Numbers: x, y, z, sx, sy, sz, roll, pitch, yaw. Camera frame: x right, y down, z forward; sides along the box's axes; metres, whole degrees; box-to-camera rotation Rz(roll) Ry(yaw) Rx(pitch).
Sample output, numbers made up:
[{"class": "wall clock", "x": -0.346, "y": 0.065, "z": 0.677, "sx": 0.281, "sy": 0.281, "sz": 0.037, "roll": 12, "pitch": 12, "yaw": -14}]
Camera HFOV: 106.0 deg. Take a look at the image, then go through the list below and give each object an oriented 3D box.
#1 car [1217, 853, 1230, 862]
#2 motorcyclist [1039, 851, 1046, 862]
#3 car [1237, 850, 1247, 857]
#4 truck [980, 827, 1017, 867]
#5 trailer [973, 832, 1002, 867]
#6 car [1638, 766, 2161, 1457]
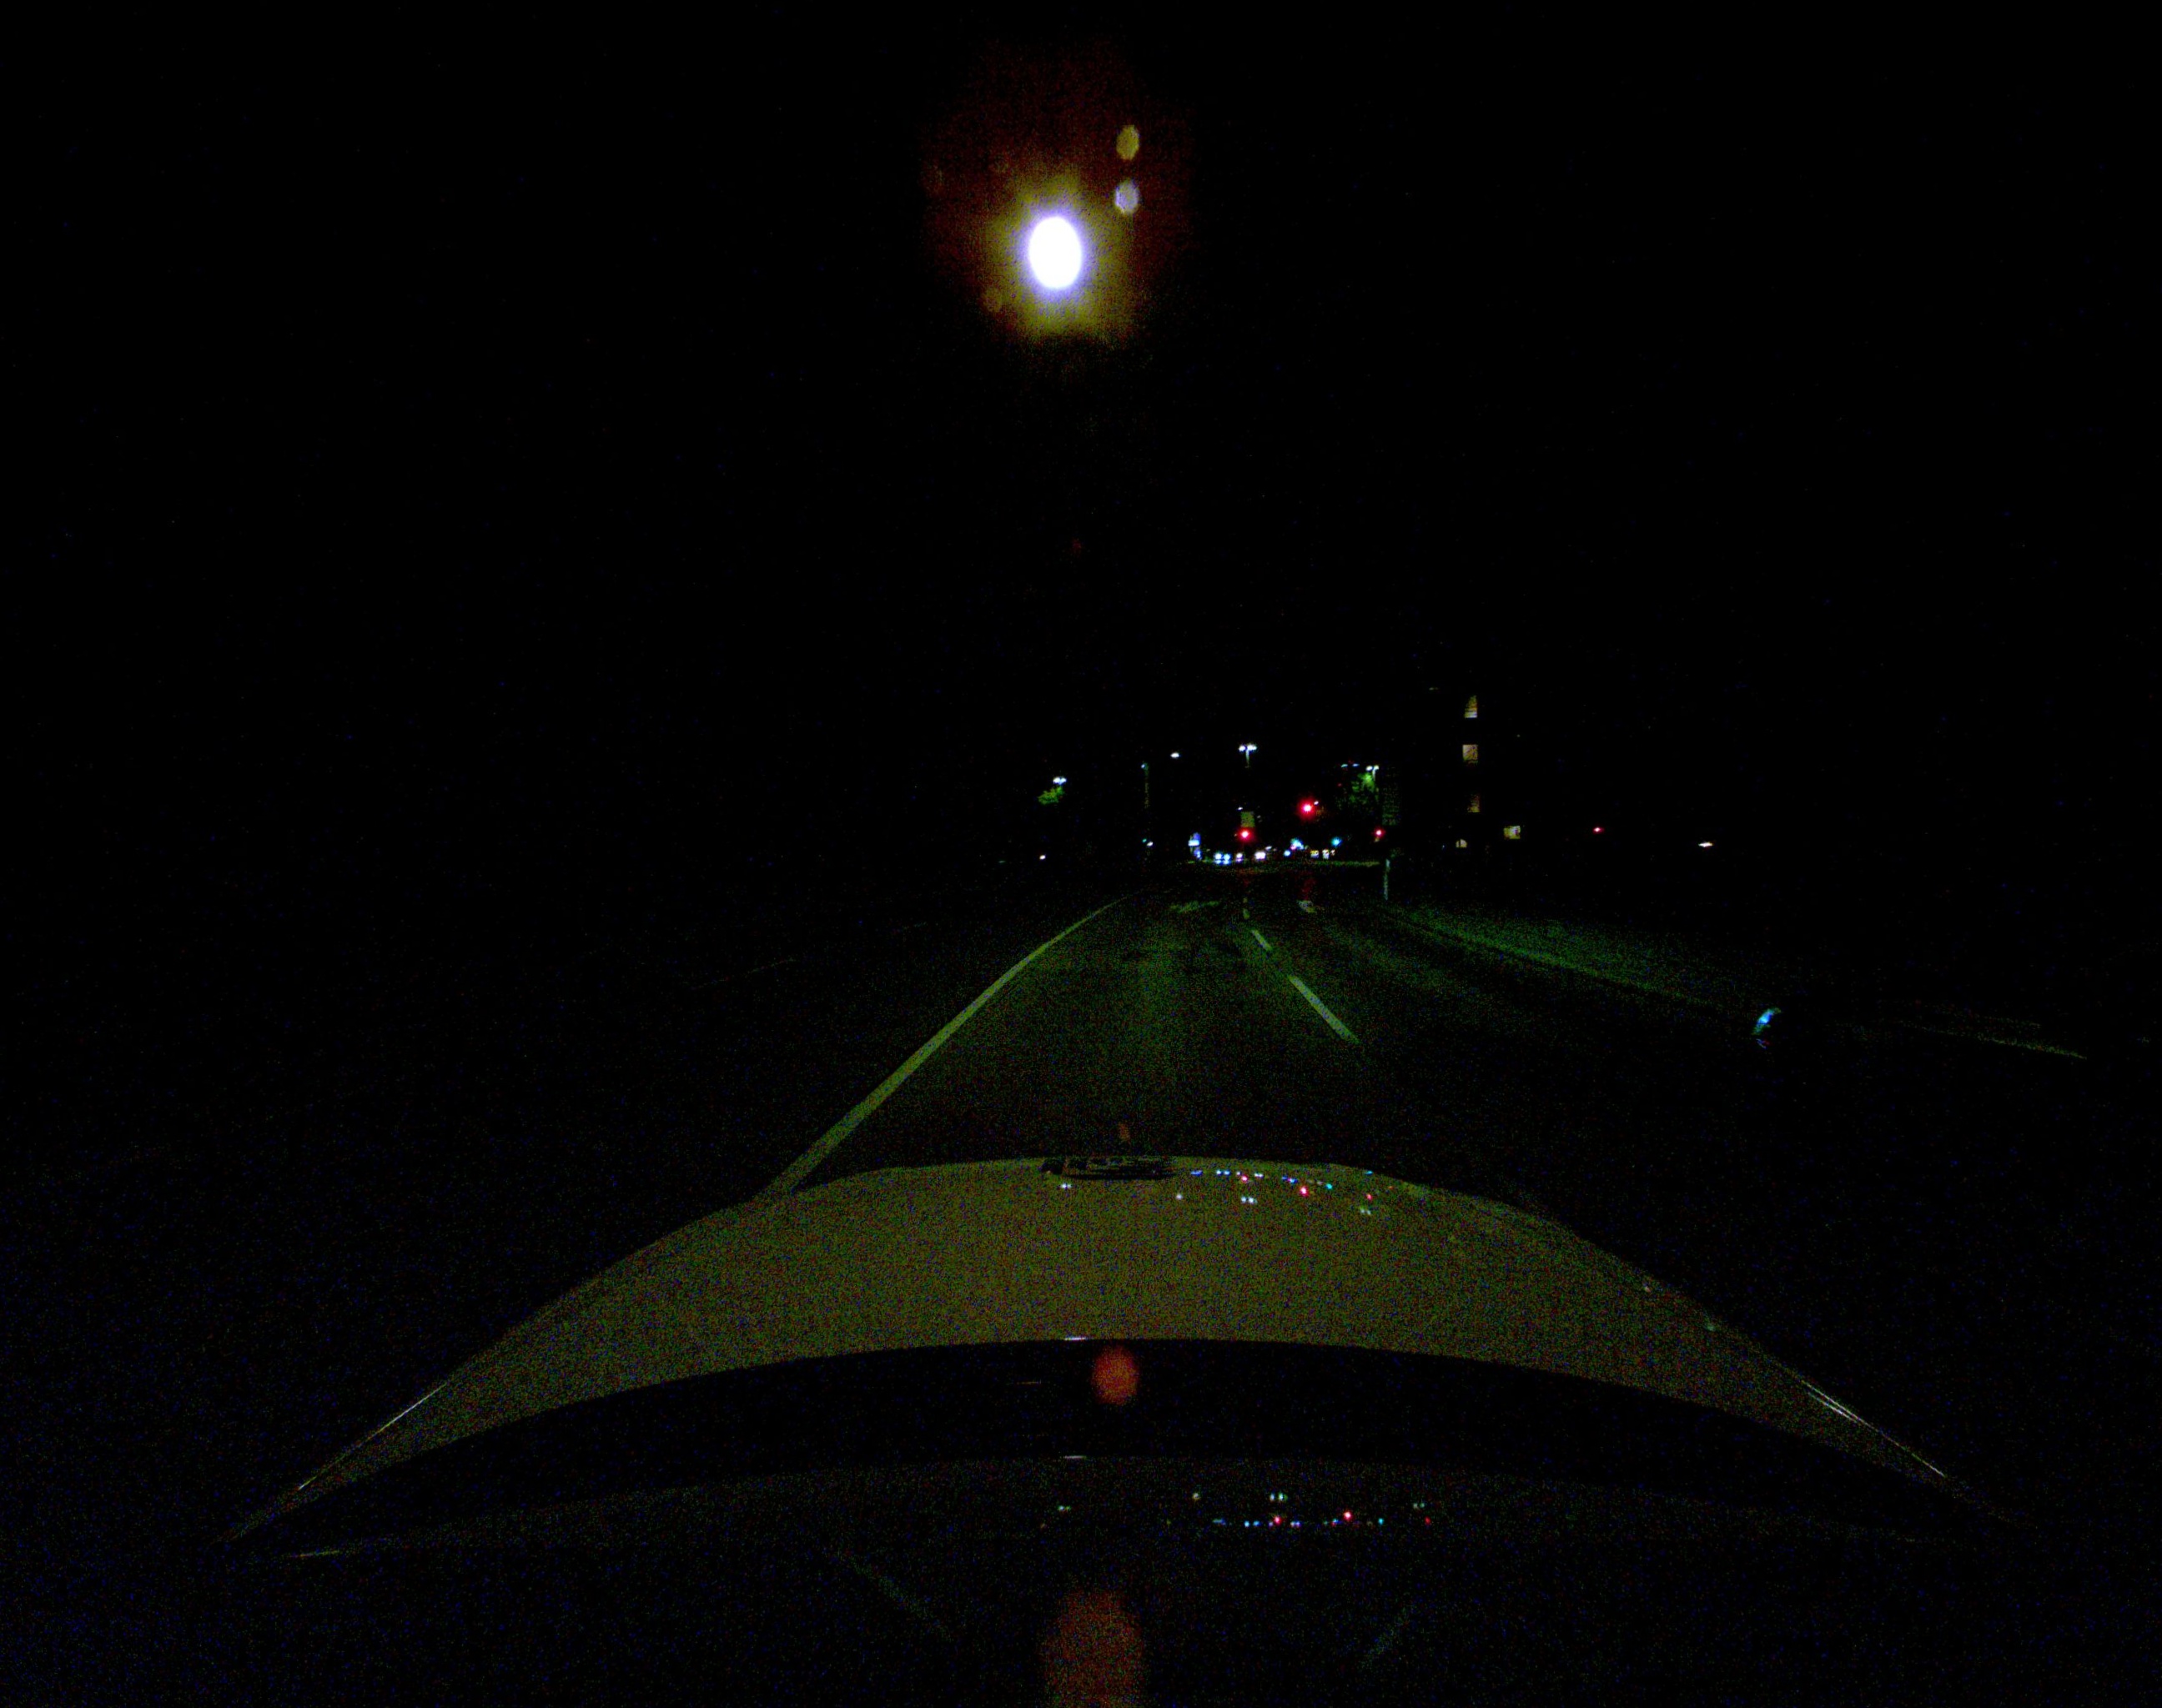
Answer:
[{"class": "car", "x": 23.457, "y": 0.617, "z": 133.846, "sx": 1.603, "sy": 1.515, "sz": 4.017, "roll": 0, "pitch": 0, "yaw": 16}, {"class": "motorcyclist", "x": -4.466, "y": 0.320, "z": 93.999, "sx": 0.650, "sy": 1.261, "sz": 0.574, "roll": 0, "pitch": -1, "yaw": -27}, {"class": "car", "x": 32.930, "y": -0.106, "z": 166.545, "sx": 1.744, "sy": 1.322, "sz": 3.562, "roll": 0, "pitch": 0, "yaw": 16}, {"class": "truck", "x": -8.281, "y": -0.643, "z": 80.906, "sx": 2.938, "sy": 3.796, "sz": 9.523, "roll": 0, "pitch": 0, "yaw": -10}, {"class": "trailer", "x": -10.580, "y": -0.469, "z": 91.274, "sx": 2.615, "sy": 3.791, "sz": 6.487, "roll": 0, "pitch": 0, "yaw": -12}, {"class": "car", "x": 3.339, "y": 0.600, "z": 1.667, "sx": 1.663, "sy": 1.610, "sz": 4.232, "roll": 0, "pitch": 0, "yaw": 3}]
